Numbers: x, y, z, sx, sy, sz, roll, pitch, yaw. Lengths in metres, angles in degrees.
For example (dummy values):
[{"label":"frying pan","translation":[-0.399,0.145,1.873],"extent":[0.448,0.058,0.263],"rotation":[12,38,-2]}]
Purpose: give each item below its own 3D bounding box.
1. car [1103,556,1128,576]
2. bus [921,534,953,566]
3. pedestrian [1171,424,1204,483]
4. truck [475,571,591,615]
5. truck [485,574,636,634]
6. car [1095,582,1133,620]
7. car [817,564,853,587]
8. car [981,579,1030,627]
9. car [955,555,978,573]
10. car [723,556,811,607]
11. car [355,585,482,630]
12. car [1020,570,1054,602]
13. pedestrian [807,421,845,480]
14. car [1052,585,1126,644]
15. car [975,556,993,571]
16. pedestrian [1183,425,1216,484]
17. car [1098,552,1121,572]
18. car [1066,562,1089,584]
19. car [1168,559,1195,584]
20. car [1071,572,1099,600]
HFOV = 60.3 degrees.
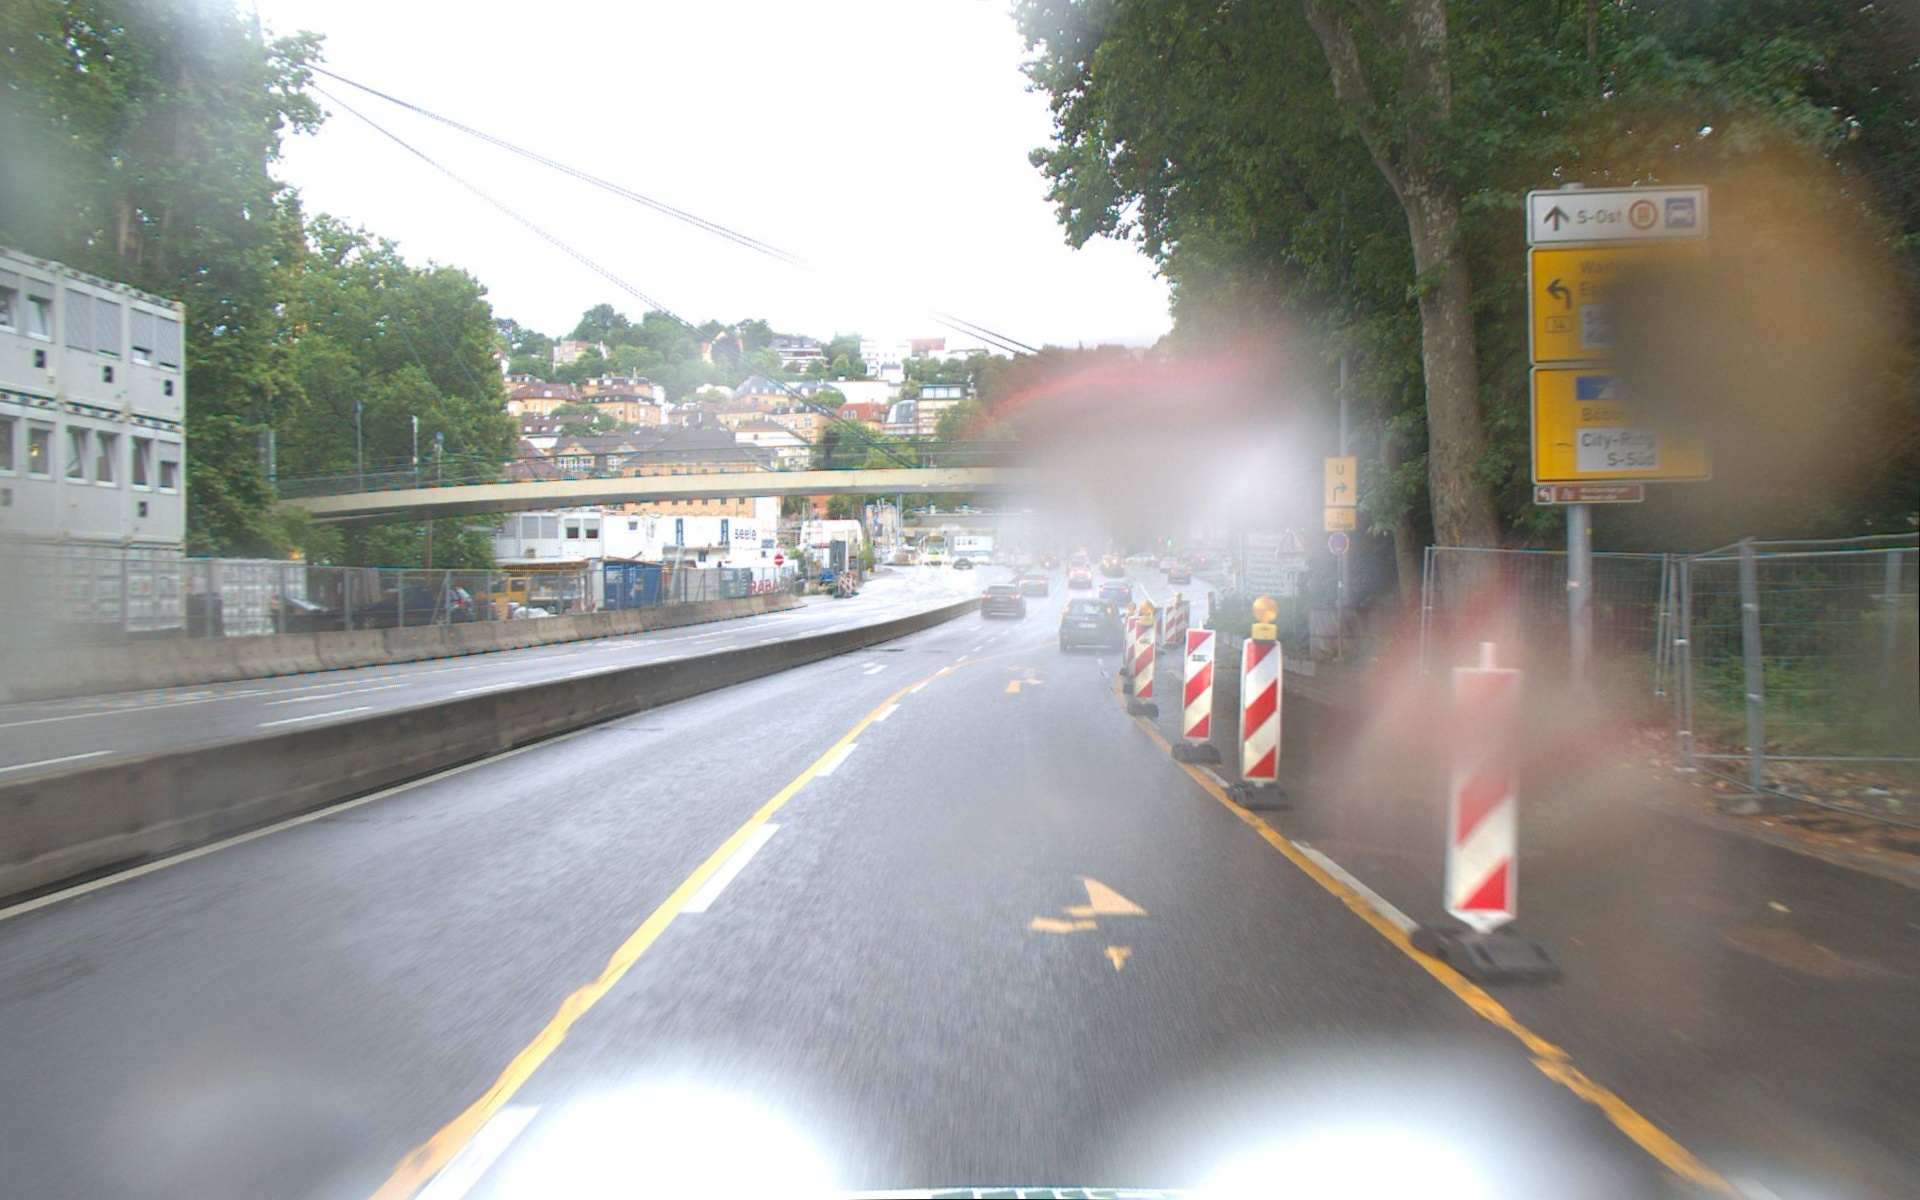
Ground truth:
[{"label":"car","translation":[14.371,-3.128,152.946],"extent":[1.952,1.728,4.001],"rotation":[-1,0,2]},{"label":"bus","translation":[-2.435,-5.354,179.397],"extent":[2.747,3.240,8.812],"rotation":[-1,1,4]},{"label":"pedestrian","translation":[8.543,-5.495,62.073],"extent":[1.123,2.096,1.060],"rotation":[-1,0,12]},{"label":"truck","translation":[-21.277,-0.344,82.561],"extent":[5.140,2.049,2.163],"rotation":[-1,1,0]},{"label":"truck","translation":[-17.886,0.184,74.355],"extent":[6.152,2.495,2.692],"rotation":[-1,0,-3]},{"label":"car","translation":[8.891,0.049,95.988],"extent":[2.060,2.086,4.002],"rotation":[-1,0,4]},{"label":"car","translation":[-9.685,-1.950,128.658],"extent":[1.951,1.650,4.004],"rotation":[0,2,8]},{"label":"car","translation":[2.056,0.141,73.960],"extent":[1.974,2.049,4.002],"rotation":[-1,0,4]},{"label":"car","translation":[0.636,-3.606,165.141],"extent":[2.038,1.659,4.855],"rotation":[-1,1,3]},{"label":"car","translation":[-11.469,-1.111,98.738],"extent":[1.956,2.925,6.040],"rotation":[-1,0,30]},{"label":"car","translation":[-21.138,0.286,64.745],"extent":[4.336,1.656,1.957],"rotation":[-1,0,-5]},{"label":"car","translation":[5.174,-0.926,110.563],"extent":[1.951,2.049,4.003],"rotation":[-1,0,6]},{"label":"pedestrian","translation":[-5.005,-5.572,61.770],"extent":[1.123,2.096,1.060],"rotation":[-1,0,12]},{"label":"car","translation":[3.700,0.395,46.909],"extent":[1.773,1.553,4.003],"rotation":[-2,0,8]},{"label":"car","translation":[2.662,-3.989,182.387],"extent":[1.673,1.515,3.452],"rotation":[-1,0,5]},{"label":"pedestrian","translation":[9.134,-5.523,63.010],"extent":[1.123,2.096,1.060],"rotation":[-1,0,12]},{"label":"car","translation":[14.362,-3.635,159.120],"extent":[1.952,1.728,4.001],"rotation":[-1,0,2]},{"label":"car","translation":[10.624,-2.404,150.055],"extent":[1.952,1.902,4.001],"rotation":[-1,0,2]},{"label":"car","translation":[18.538,-2.372,138.608],"extent":[1.952,2.049,4.002],"rotation":[0,1,3]},{"label":"car","translation":[9.456,-1.048,125.525],"extent":[2.008,2.049,4.001],"rotation":[-1,0,3]}]
